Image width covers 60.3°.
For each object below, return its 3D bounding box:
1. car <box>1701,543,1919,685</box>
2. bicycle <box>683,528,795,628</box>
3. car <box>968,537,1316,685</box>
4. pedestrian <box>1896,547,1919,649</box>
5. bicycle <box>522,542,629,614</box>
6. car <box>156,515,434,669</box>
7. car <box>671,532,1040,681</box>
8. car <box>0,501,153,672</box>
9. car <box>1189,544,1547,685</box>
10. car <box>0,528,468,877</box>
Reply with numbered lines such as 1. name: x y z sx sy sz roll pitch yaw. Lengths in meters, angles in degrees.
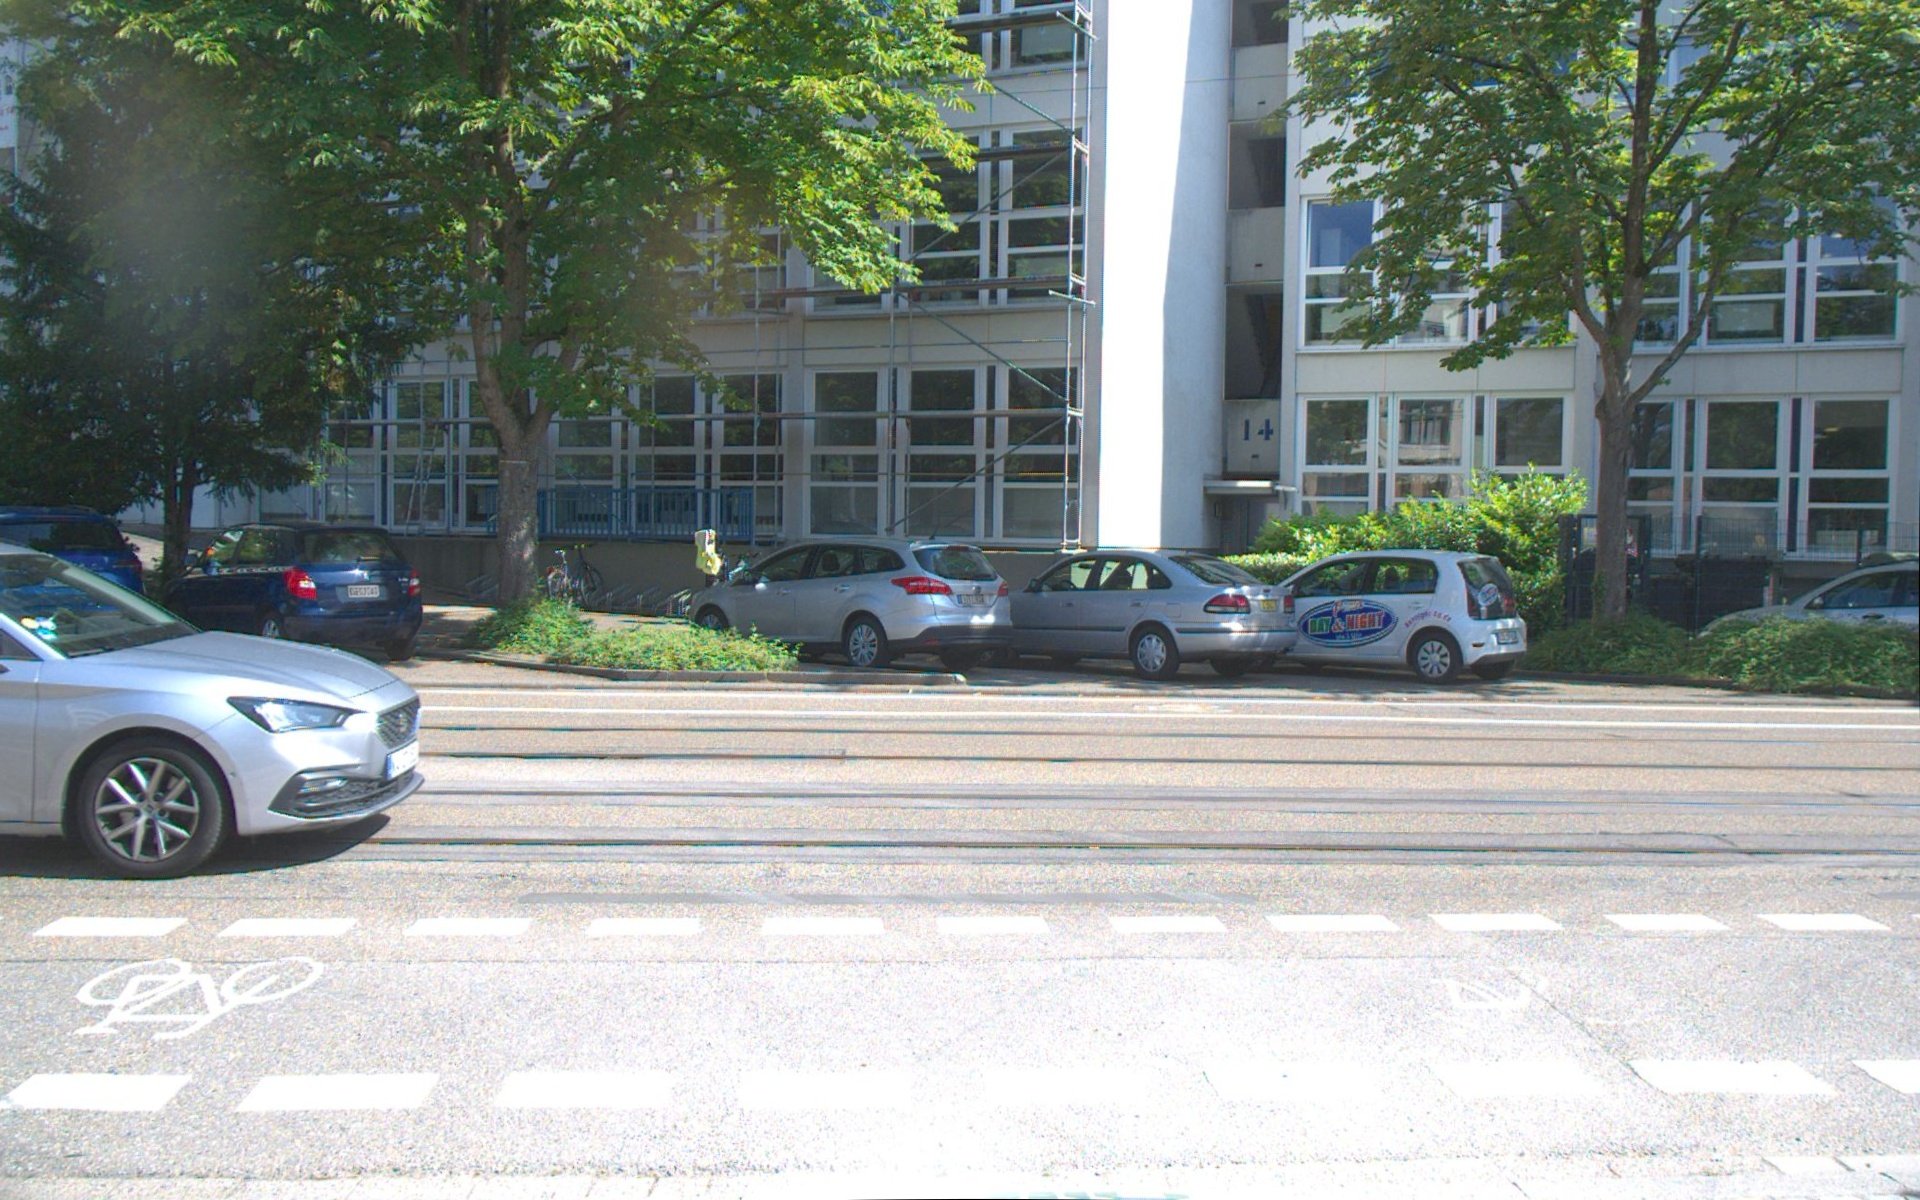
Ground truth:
1. car: 11.461 0.162 20.051 4.262 1.632 1.551 2 2 39
2. bicycle: -3.430 -0.359 25.823 0.648 1.478 2.088 2 2 27
3. car: 2.045 0.052 19.341 3.878 1.511 1.602 3 3 44
4. pedestrian: 14.187 -0.031 24.294 0.608 1.486 0.424 1 2 -6
5. bicycle: -6.150 -0.377 26.580 0.725 1.104 2.205 1 2 15
6. car: -7.506 -0.151 18.563 3.396 1.557 1.567 3 3 42
7. car: -1.314 -0.008 19.392 4.356 1.511 1.774 3 3 42
8. car: -10.538 -0.239 18.339 1.767 1.650 3.883 -2 5 -44
9. car: 4.781 0.107 19.721 3.876 1.512 1.603 1 2 43
10. car: -4.836 0.392 7.831 4.488 1.432 1.891 1 3 -4
